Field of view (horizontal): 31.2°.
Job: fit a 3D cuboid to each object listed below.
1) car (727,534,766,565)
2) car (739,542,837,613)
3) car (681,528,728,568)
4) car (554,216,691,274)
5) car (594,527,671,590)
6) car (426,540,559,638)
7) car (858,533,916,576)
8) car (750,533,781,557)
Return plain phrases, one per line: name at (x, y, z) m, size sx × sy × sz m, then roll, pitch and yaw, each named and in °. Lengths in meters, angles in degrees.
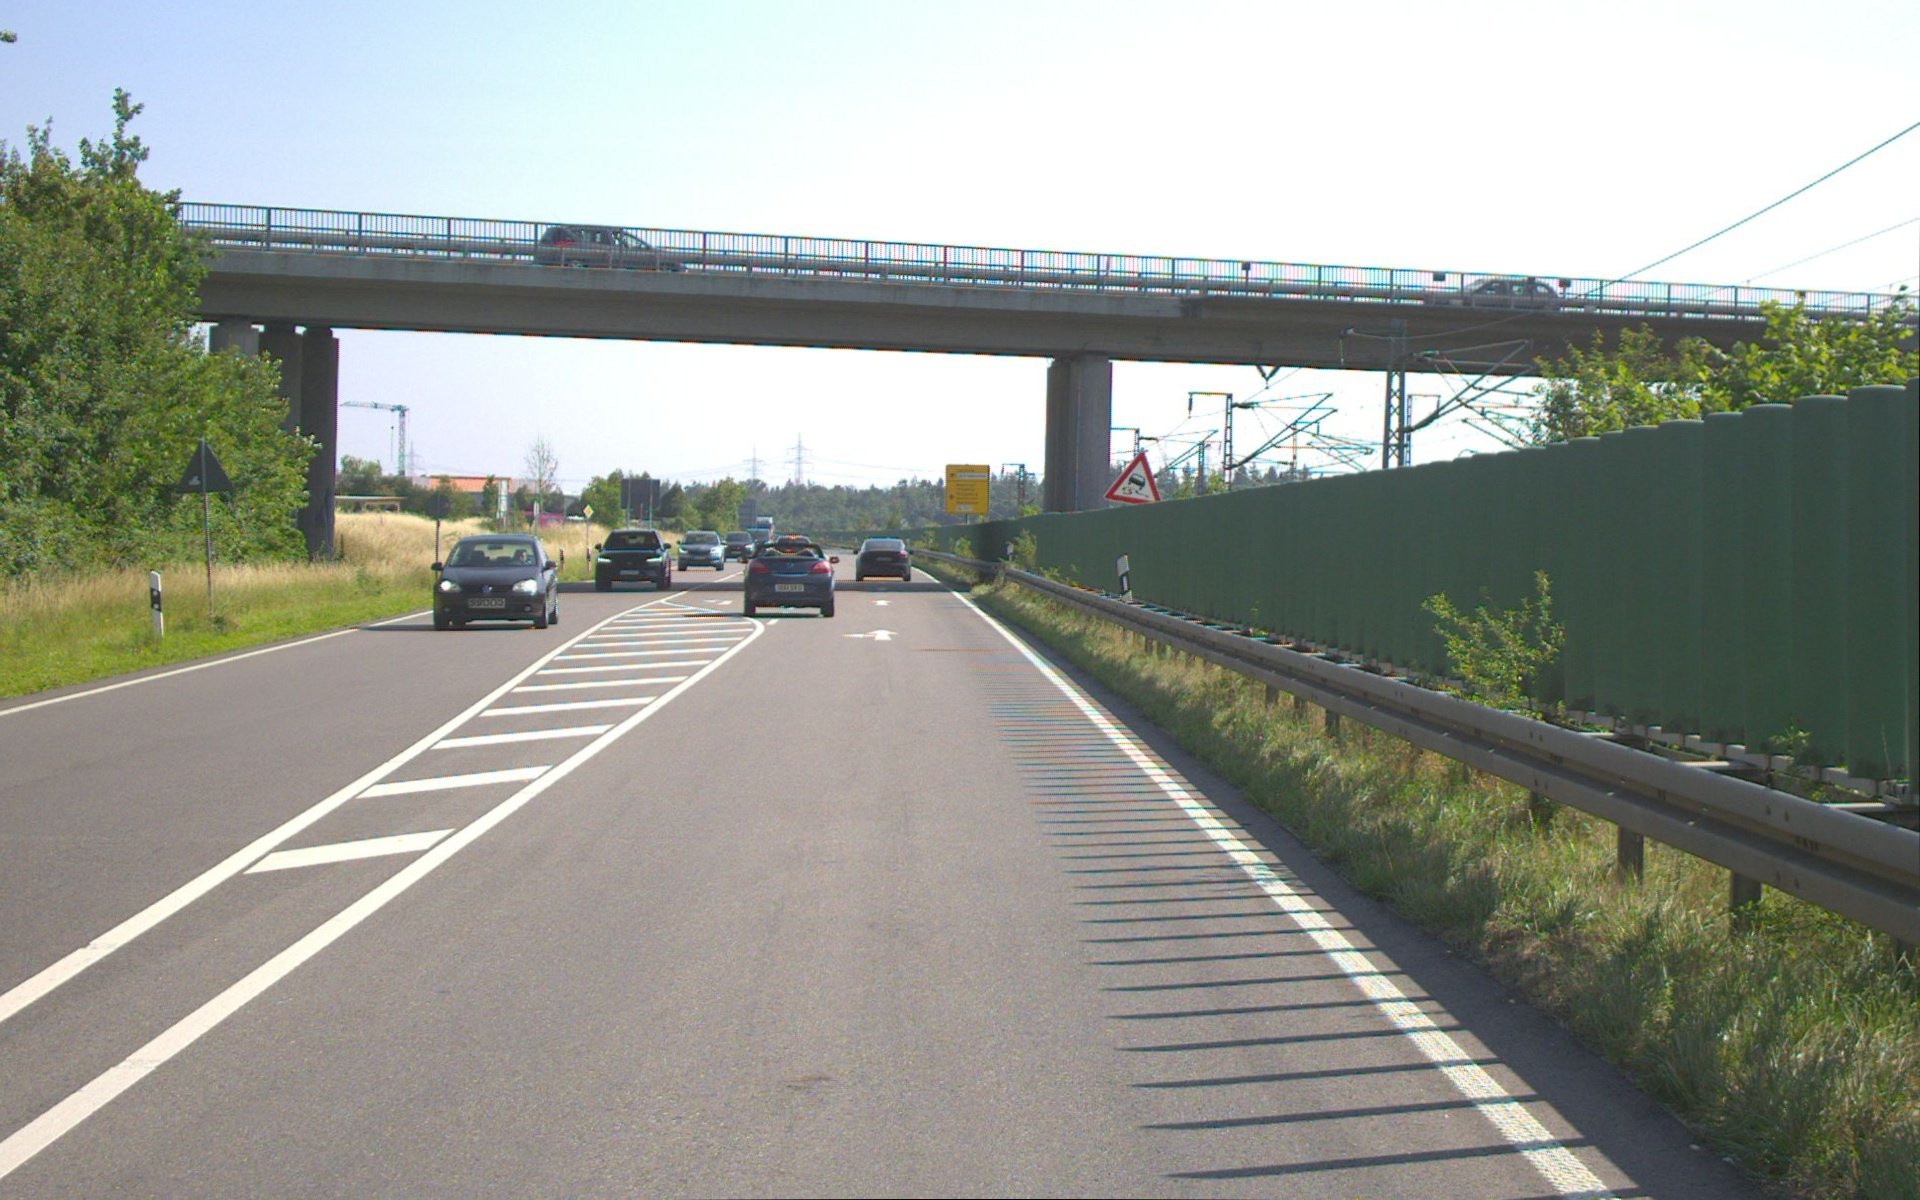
car at (-11.591, -2.742, 186.737) m, size 1.895 × 1.625 × 4.000 m, roll 1°, pitch 1°, yaw -1°
car at (-3.153, -0.427, 63.587) m, size 1.663 × 1.257 × 4.000 m, roll 1°, pitch 1°, yaw -1°
car at (-10.742, -2.205, 144.632) m, size 1.845 × 1.625 × 4.001 m, roll 1°, pitch 1°, yaw -3°
car at (-9.214, -9.680, 93.840) m, size 3.366 × 1.314 × 1.579 m, roll 0°, pitch 1°, yaw -24°
car at (-8.974, -1.168, 94.532) m, size 1.922 × 1.587 × 4.430 m, roll 3°, pitch 1°, yaw -4°
car at (-7.393, -0.203, 54.607) m, size 1.749 × 1.476 × 4.001 m, roll 1°, pitch 1°, yaw -3°
car at (-2.465, -1.529, 115.699) m, size 1.895 × 1.413 × 4.000 m, roll 1°, pitch 1°, yaw -1°
car at (-13.252, -3.767, 234.486) m, size 1.895 × 1.625 × 4.000 m, roll 1°, pitch 1°, yaw -1°
